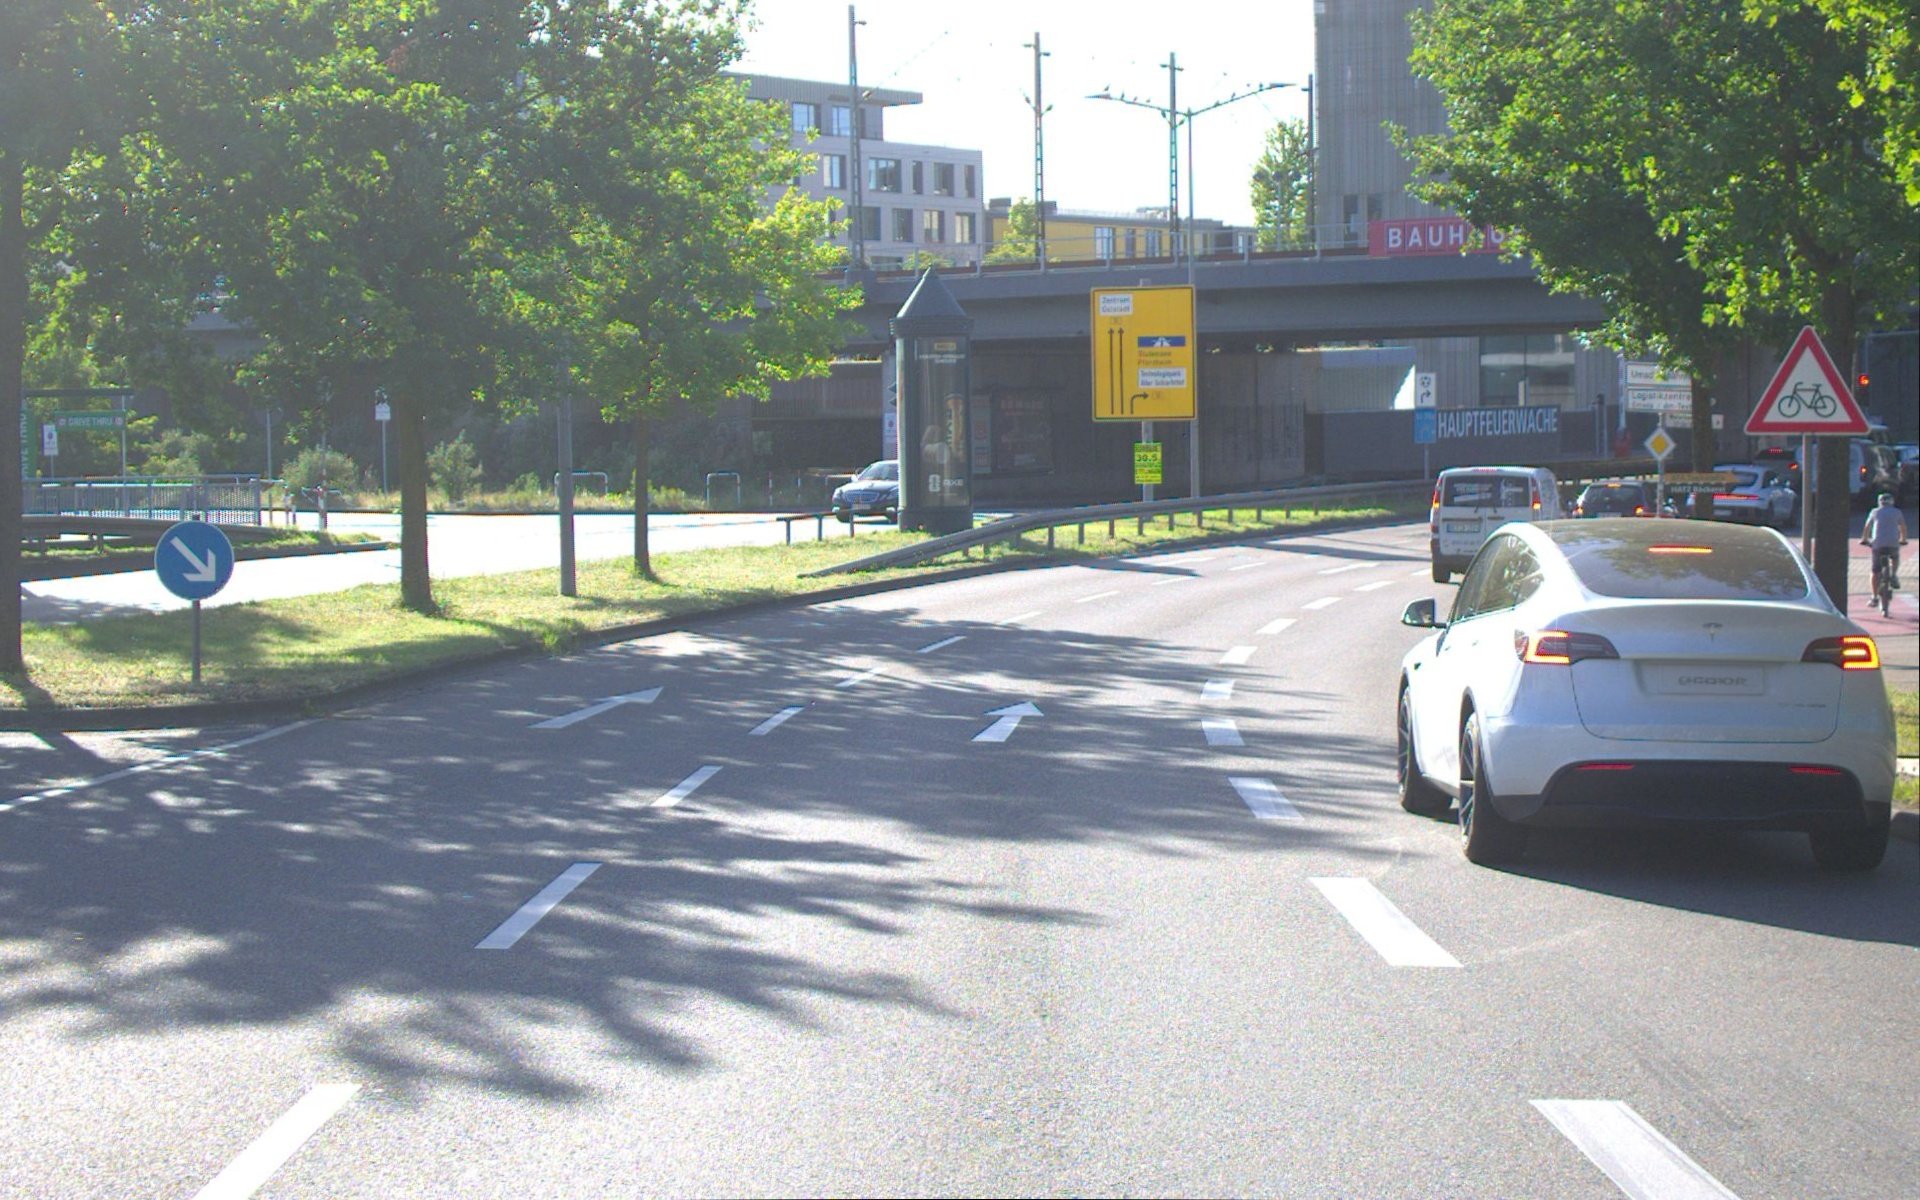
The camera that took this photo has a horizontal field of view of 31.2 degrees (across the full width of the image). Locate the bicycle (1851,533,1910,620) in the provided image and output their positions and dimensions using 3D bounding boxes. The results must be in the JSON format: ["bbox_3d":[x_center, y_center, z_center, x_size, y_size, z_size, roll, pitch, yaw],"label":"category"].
[{"bbox_3d":[12.810,-0.339,47.796,0.743,1.108,2.450,-2,2,15],"label":"bicycle"}]

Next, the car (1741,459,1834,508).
[{"bbox_3d":[25.999,-3.663,107.930,1.711,1.447,3.736,2,4,33],"label":"car"}]

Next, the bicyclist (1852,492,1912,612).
[{"bbox_3d":[12.828,-0.675,47.802,0.746,1.613,0.912,-2,2,16],"label":"bicyclist"}]

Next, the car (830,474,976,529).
[{"bbox_3d":[-1.355,-2.432,84.145,1.802,1.305,4.610,2,3,24],"label":"car"}]

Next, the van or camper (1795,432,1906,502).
[{"bbox_3d":[24.035,-3.608,92.697,1.828,1.784,4.538,2,4,28],"label":"van or camper"}]

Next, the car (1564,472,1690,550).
[{"bbox_3d":[13.683,-1.847,70.383,1.606,1.429,3.674,2,5,26],"label":"car"}]

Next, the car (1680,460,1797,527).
[{"bbox_3d":[18.245,-2.518,80.447,1.766,1.470,4.283,1,3,25],"label":"car"}]

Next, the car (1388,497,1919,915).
[{"bbox_3d":[3.307,0.392,16.925,1.914,1.635,4.411,-2,3,2],"label":"car"}]

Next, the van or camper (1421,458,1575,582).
[{"bbox_3d":[8.975,-1.374,57.059,1.960,1.877,4.877,1,3,16],"label":"van or camper"}]

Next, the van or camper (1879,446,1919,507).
[{"bbox_3d":[30.167,-3.869,107.254,1.757,1.807,3.952,2,4,32],"label":"van or camper"}]

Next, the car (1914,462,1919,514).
[{"bbox_3d":[29.552,-3.334,101.329,1.711,1.517,3.736,2,4,33],"label":"car"}]
